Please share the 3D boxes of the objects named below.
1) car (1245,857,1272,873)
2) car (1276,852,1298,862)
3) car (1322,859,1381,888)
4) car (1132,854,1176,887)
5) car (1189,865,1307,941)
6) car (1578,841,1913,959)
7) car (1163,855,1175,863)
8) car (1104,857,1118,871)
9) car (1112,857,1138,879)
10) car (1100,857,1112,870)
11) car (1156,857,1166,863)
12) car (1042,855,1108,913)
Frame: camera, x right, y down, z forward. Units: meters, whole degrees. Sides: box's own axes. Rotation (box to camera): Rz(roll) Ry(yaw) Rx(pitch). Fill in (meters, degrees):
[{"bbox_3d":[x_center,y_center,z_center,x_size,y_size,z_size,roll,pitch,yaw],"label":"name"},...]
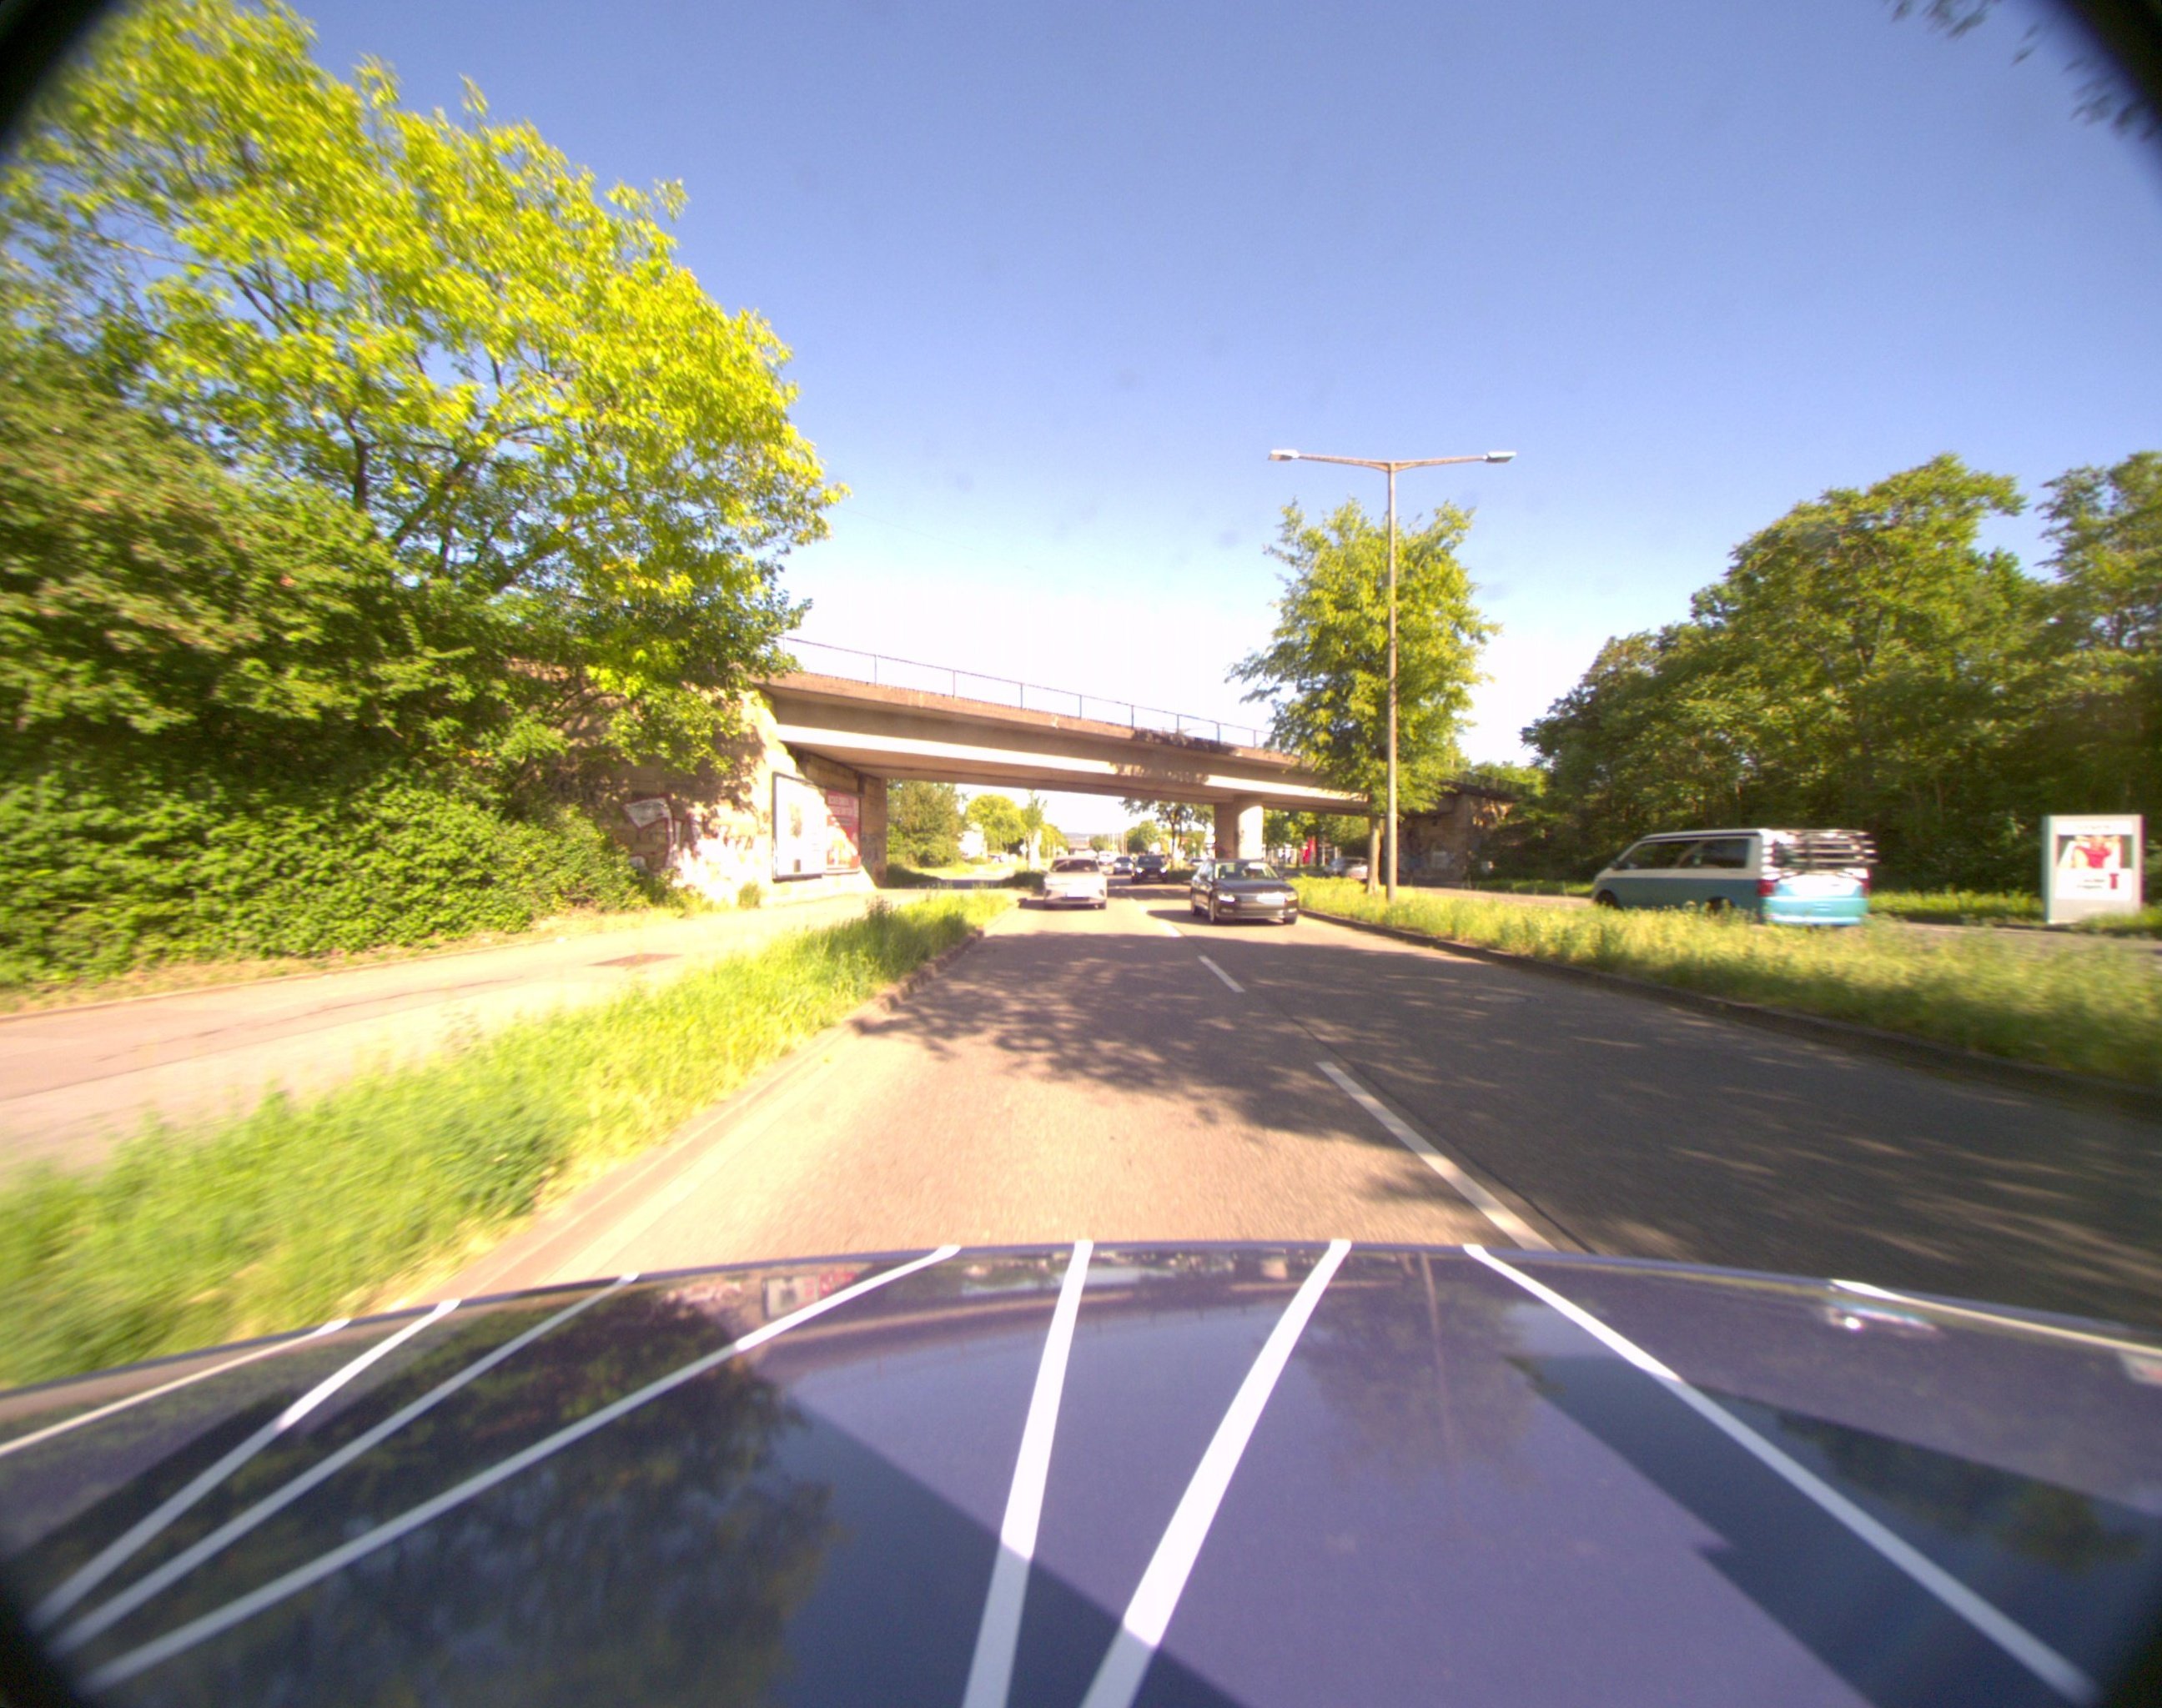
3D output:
[{"bbox_3d":[17.616,1.073,75.595,1.847,1.453,3.639,1,0,0],"label":"car"},{"bbox_3d":[40.837,0.560,150.980,1.851,1.840,3.820,-2,1,-40],"label":"car"},{"bbox_3d":[16.306,1.151,46.074,1.987,1.543,4.592,-1,0,1],"label":"car"},{"bbox_3d":[4.047,0.890,42.854,1.998,1.674,4.695,-1,0,0],"label":"car"},{"bbox_3d":[3.690,1.028,17.540,1.848,1.445,4.265,-1,0,1],"label":"car"},{"bbox_3d":[12.525,0.733,14.981,1.998,1.918,5.245,0,0,0],"label":"car"},{"bbox_3d":[16.749,0.904,144.698,1.821,1.434,4.089,1,0,0],"label":"car"},{"bbox_3d":[4.804,1.595,121.559,2.089,2.229,4.000,-1,0,0],"label":"car"},{"bbox_3d":[3.766,1.189,65.638,1.998,1.779,4.270,-1,0,0],"label":"car"},{"bbox_3d":[4.281,1.649,131.901,1.998,2.002,4.000,-1,0,0],"label":"car"},{"bbox_3d":[20.646,1.433,196.758,1.919,1.446,4.489,2,0,0],"label":"car"},{"bbox_3d":[-0.140,0.865,23.689,1.848,1.615,4.265,-1,0,1],"label":"car"}]
